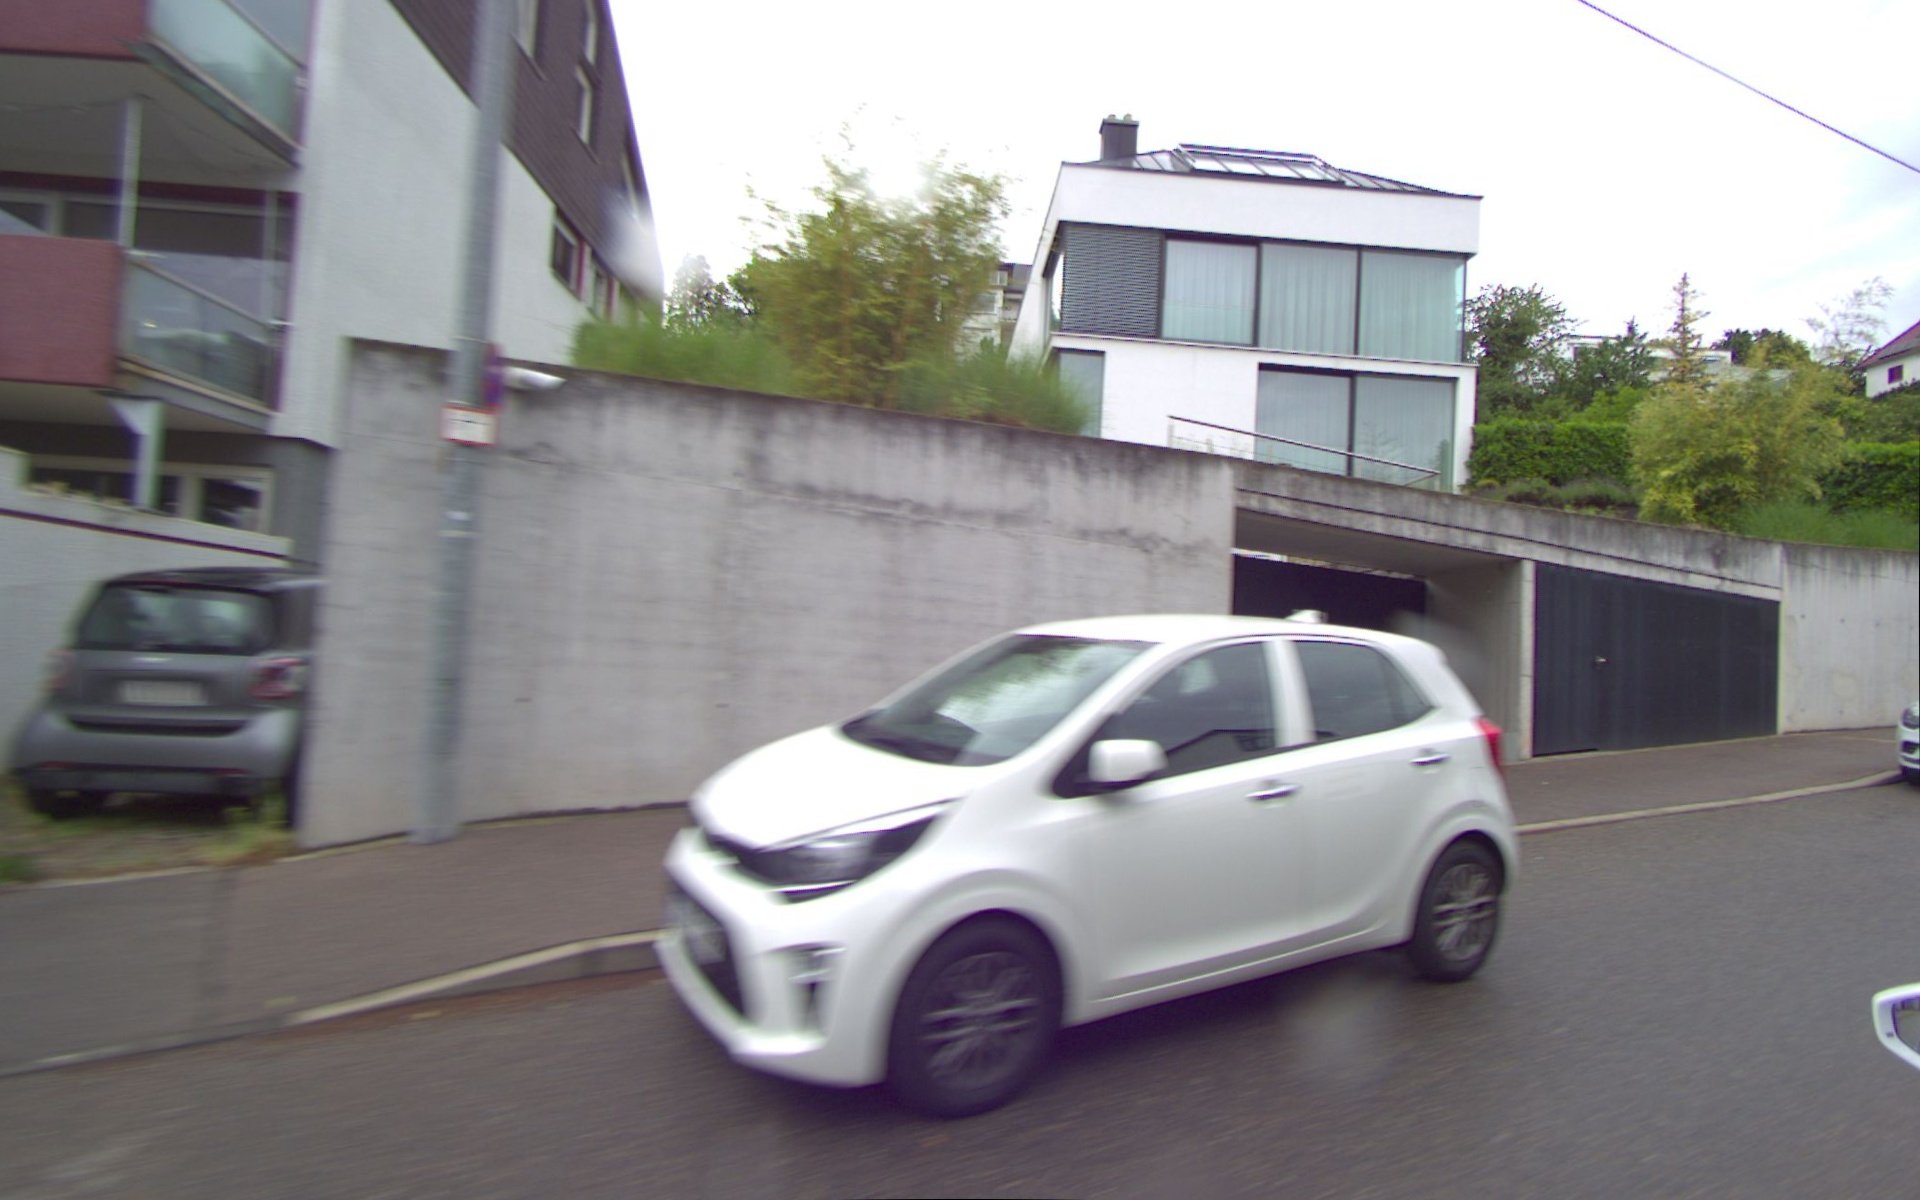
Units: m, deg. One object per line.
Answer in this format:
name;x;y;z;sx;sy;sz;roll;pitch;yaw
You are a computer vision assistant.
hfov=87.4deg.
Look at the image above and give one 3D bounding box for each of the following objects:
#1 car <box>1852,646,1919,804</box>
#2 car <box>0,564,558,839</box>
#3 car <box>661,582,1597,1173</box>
car;10.939;1.226;9.948;3.988;1.459;1.826;2;-2;-27
car;-4.645;0.546;7.559;1.733;1.498;3.930;2;1;-2
car;0.841;0.774;4.283;3.787;1.536;1.619;1;-1;-30
